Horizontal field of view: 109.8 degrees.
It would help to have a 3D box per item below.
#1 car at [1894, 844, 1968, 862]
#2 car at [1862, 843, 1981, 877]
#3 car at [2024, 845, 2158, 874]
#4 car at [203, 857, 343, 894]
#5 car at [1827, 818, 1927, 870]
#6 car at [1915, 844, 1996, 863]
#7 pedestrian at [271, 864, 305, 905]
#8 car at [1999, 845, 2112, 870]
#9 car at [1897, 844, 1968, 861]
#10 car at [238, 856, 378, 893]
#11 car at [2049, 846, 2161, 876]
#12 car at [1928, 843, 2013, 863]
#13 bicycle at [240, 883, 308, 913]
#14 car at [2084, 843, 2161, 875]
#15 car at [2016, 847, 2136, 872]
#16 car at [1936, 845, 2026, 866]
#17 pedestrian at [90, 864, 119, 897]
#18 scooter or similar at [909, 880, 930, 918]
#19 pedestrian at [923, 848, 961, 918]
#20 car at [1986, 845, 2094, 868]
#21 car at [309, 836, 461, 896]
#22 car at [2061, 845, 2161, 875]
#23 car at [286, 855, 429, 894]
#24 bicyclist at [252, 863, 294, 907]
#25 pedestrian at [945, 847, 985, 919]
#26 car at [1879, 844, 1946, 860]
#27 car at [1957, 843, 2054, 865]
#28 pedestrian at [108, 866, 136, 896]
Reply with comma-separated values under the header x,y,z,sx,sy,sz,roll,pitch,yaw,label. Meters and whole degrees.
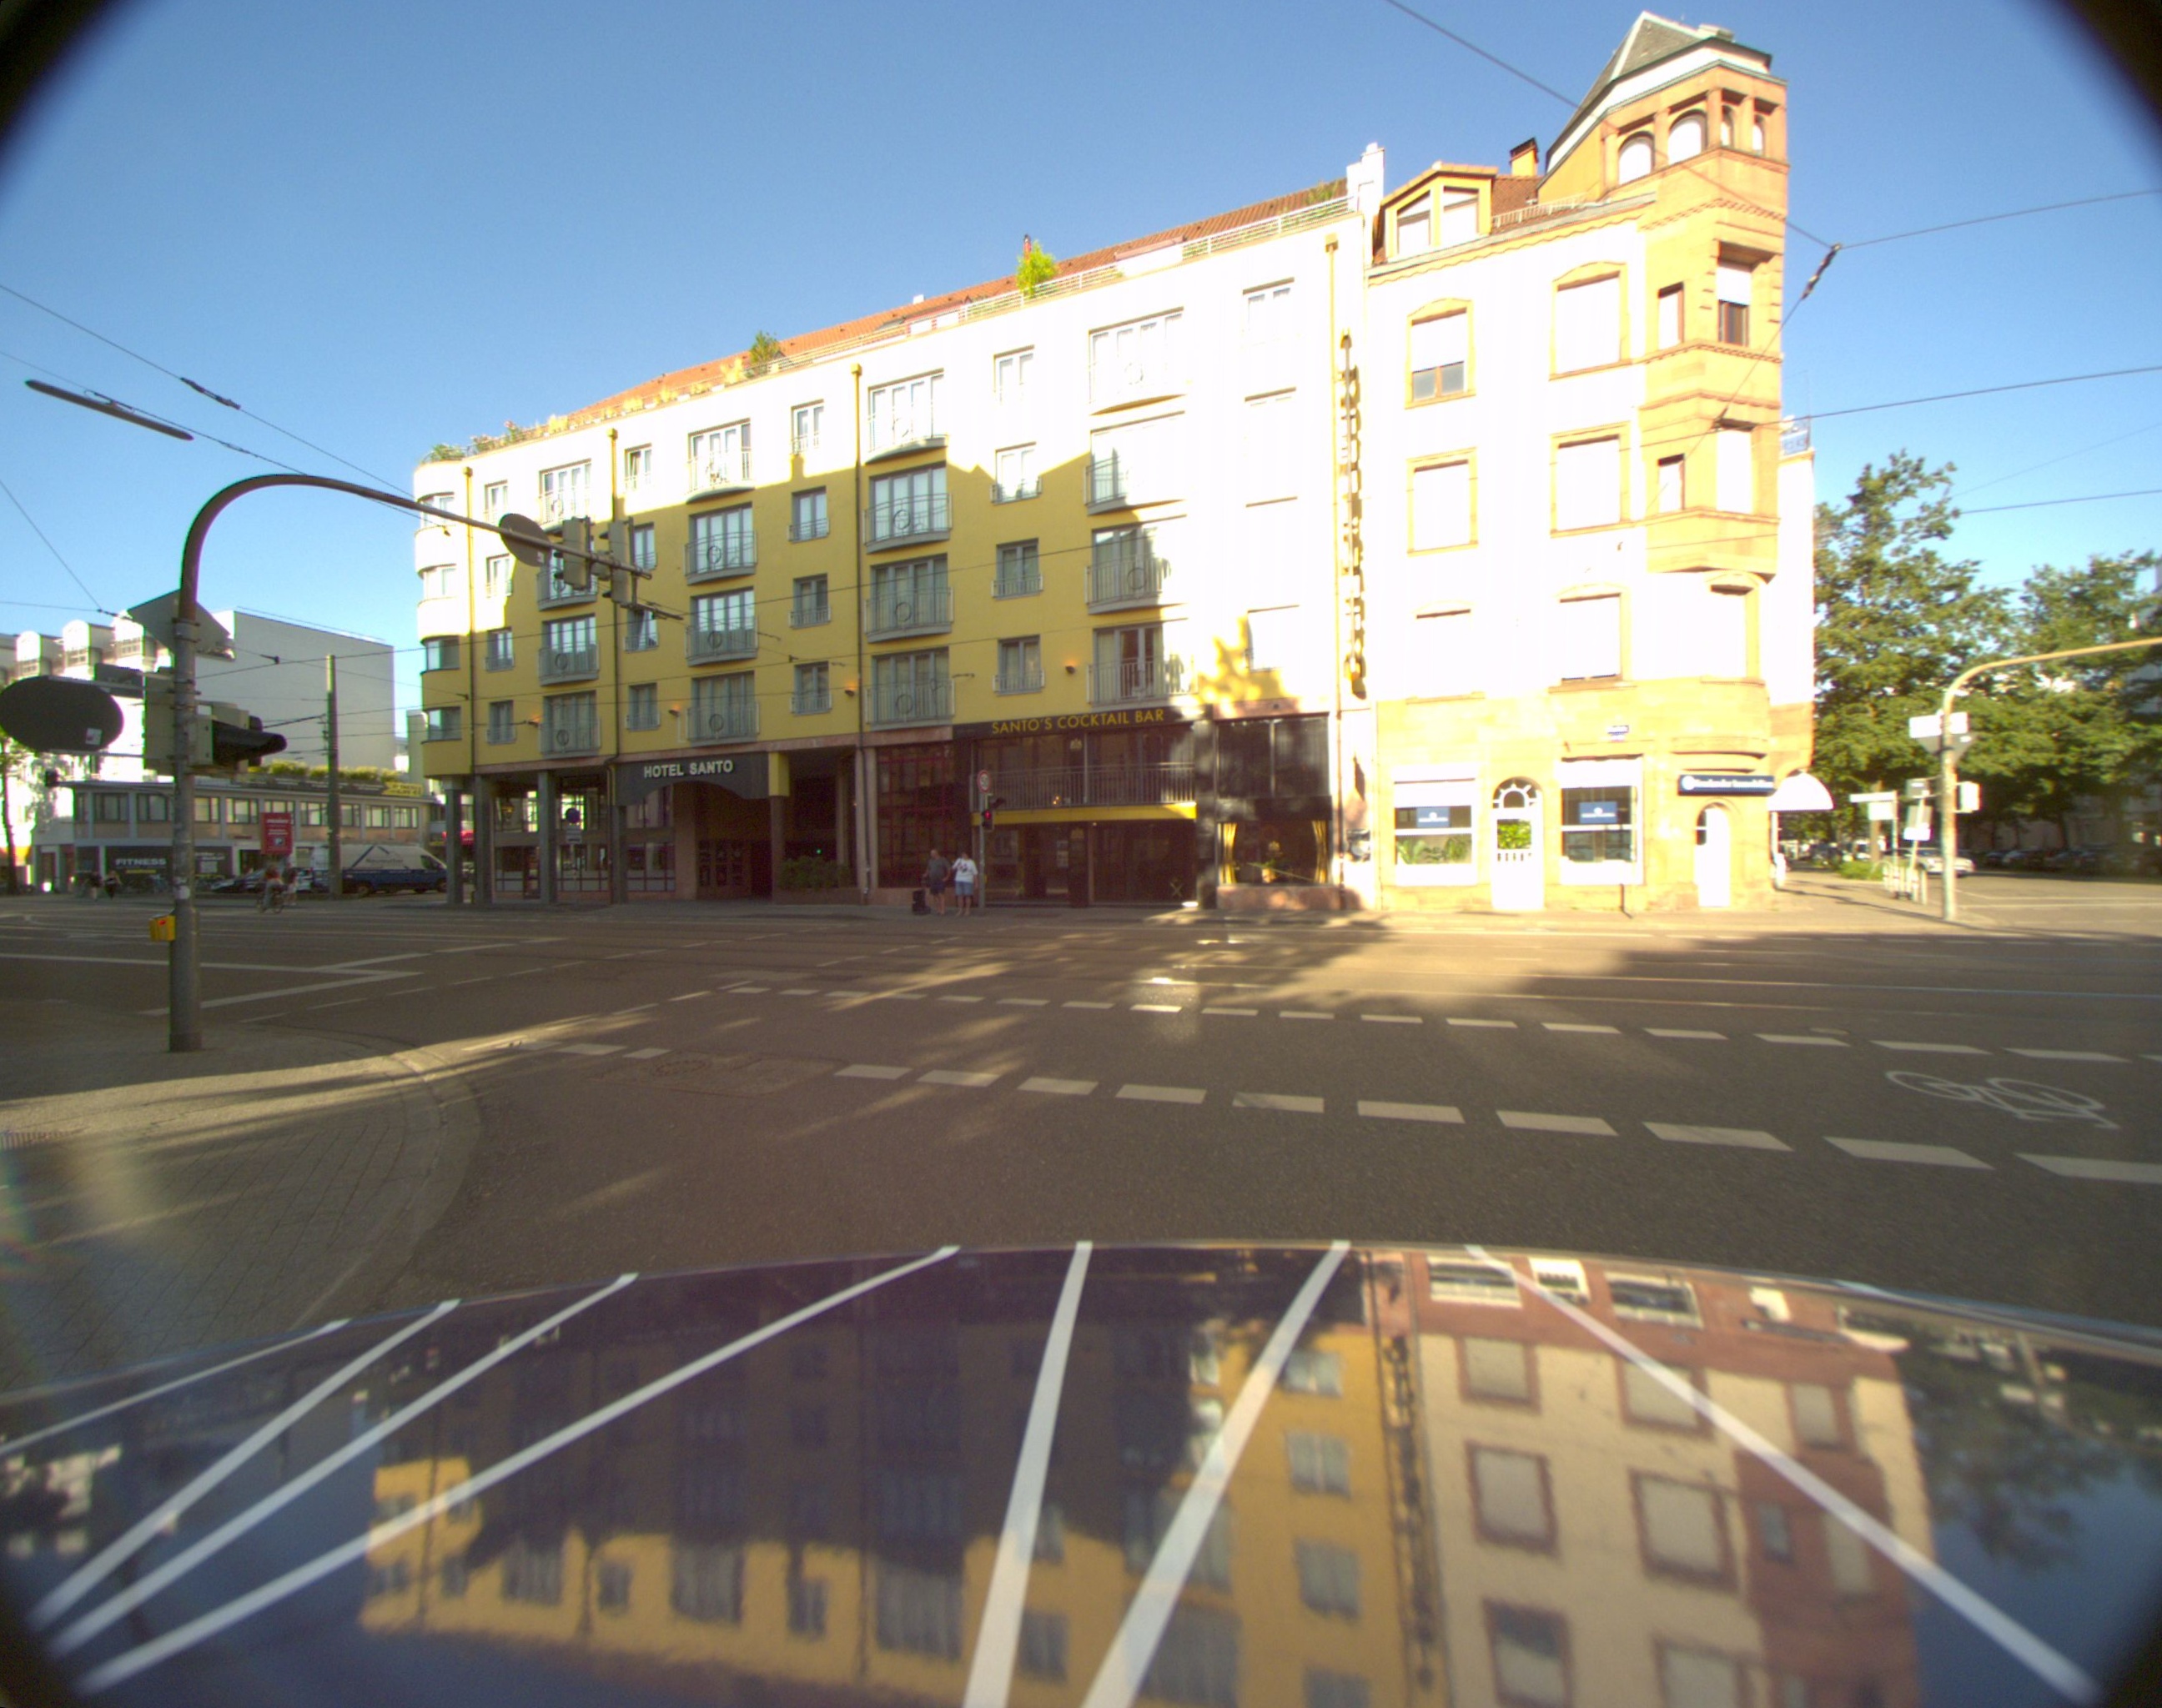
x,y,z,sx,sy,sz,roll,pitch,yaw,label
79.931,-0.102,71.557,4.292,1.576,2.004,-1,0,36,car
45.694,0.324,41.443,1.999,1.739,3.999,-1,0,-3,car
58.960,0.325,44.500,4.292,1.576,2.004,-1,0,34,car
-44.102,1.122,41.644,2.055,1.826,4.827,-1,0,21,car
52.300,-0.642,50.186,3.316,3.160,8.100,0,0,37,car
75.573,-0.010,65.763,4.292,1.576,2.004,-1,0,36,car
-33.524,1.294,32.123,0.688,1.685,0.726,-1,1,18,pedestrian
65.569,0.249,51.250,4.292,1.576,2.004,-1,0,36,car
83.805,-0.116,74.870,4.292,1.576,2.004,-1,0,36,car
-41.334,1.065,40.814,2.055,1.826,4.827,-1,0,21,car
57.788,0.398,42.352,4.292,1.576,2.004,-1,0,34,car
74.043,-0.066,63.354,4.292,1.576,2.004,-1,0,36,car
-28.288,1.546,26.625,1.960,0.998,0.680,-1,0,11,bicycle
54.435,0.237,38.463,3.989,1.576,2.004,-1,0,34,car
63.544,0.353,48.653,4.292,1.576,2.004,-1,0,36,car
71.826,0.145,60.718,4.292,1.576,2.004,-1,0,36,car
-51.077,1.368,39.750,0.897,1.719,0.617,-1,1,16,pedestrian
-4.401,1.222,20.714,0.356,0.972,0.423,-1,4,18,scooter or similar
-3.800,0.775,20.793,0.677,1.831,0.727,-1,4,20,pedestrian
67.008,0.173,53.192,4.292,1.576,2.004,-1,0,36,car
-34.458,0.557,37.855,2.055,2.742,5.157,-1,0,21,car
56.024,0.311,40.443,4.292,1.576,2.004,-1,0,34,car
-36.771,0.983,38.811,2.055,1.826,4.827,-1,0,21,car
-28.308,1.071,26.624,0.755,1.511,0.680,-1,1,11,bicyclist
-3.083,0.764,20.247,0.734,1.831,0.727,-1,4,20,pedestrian
84.894,-0.160,77.684,4.292,1.576,2.004,-1,0,36,car
69.649,0.023,57.329,4.292,1.576,2.004,-1,0,36,car
-51.684,1.437,40.938,0.897,1.597,0.617,-1,1,16,pedestrian
